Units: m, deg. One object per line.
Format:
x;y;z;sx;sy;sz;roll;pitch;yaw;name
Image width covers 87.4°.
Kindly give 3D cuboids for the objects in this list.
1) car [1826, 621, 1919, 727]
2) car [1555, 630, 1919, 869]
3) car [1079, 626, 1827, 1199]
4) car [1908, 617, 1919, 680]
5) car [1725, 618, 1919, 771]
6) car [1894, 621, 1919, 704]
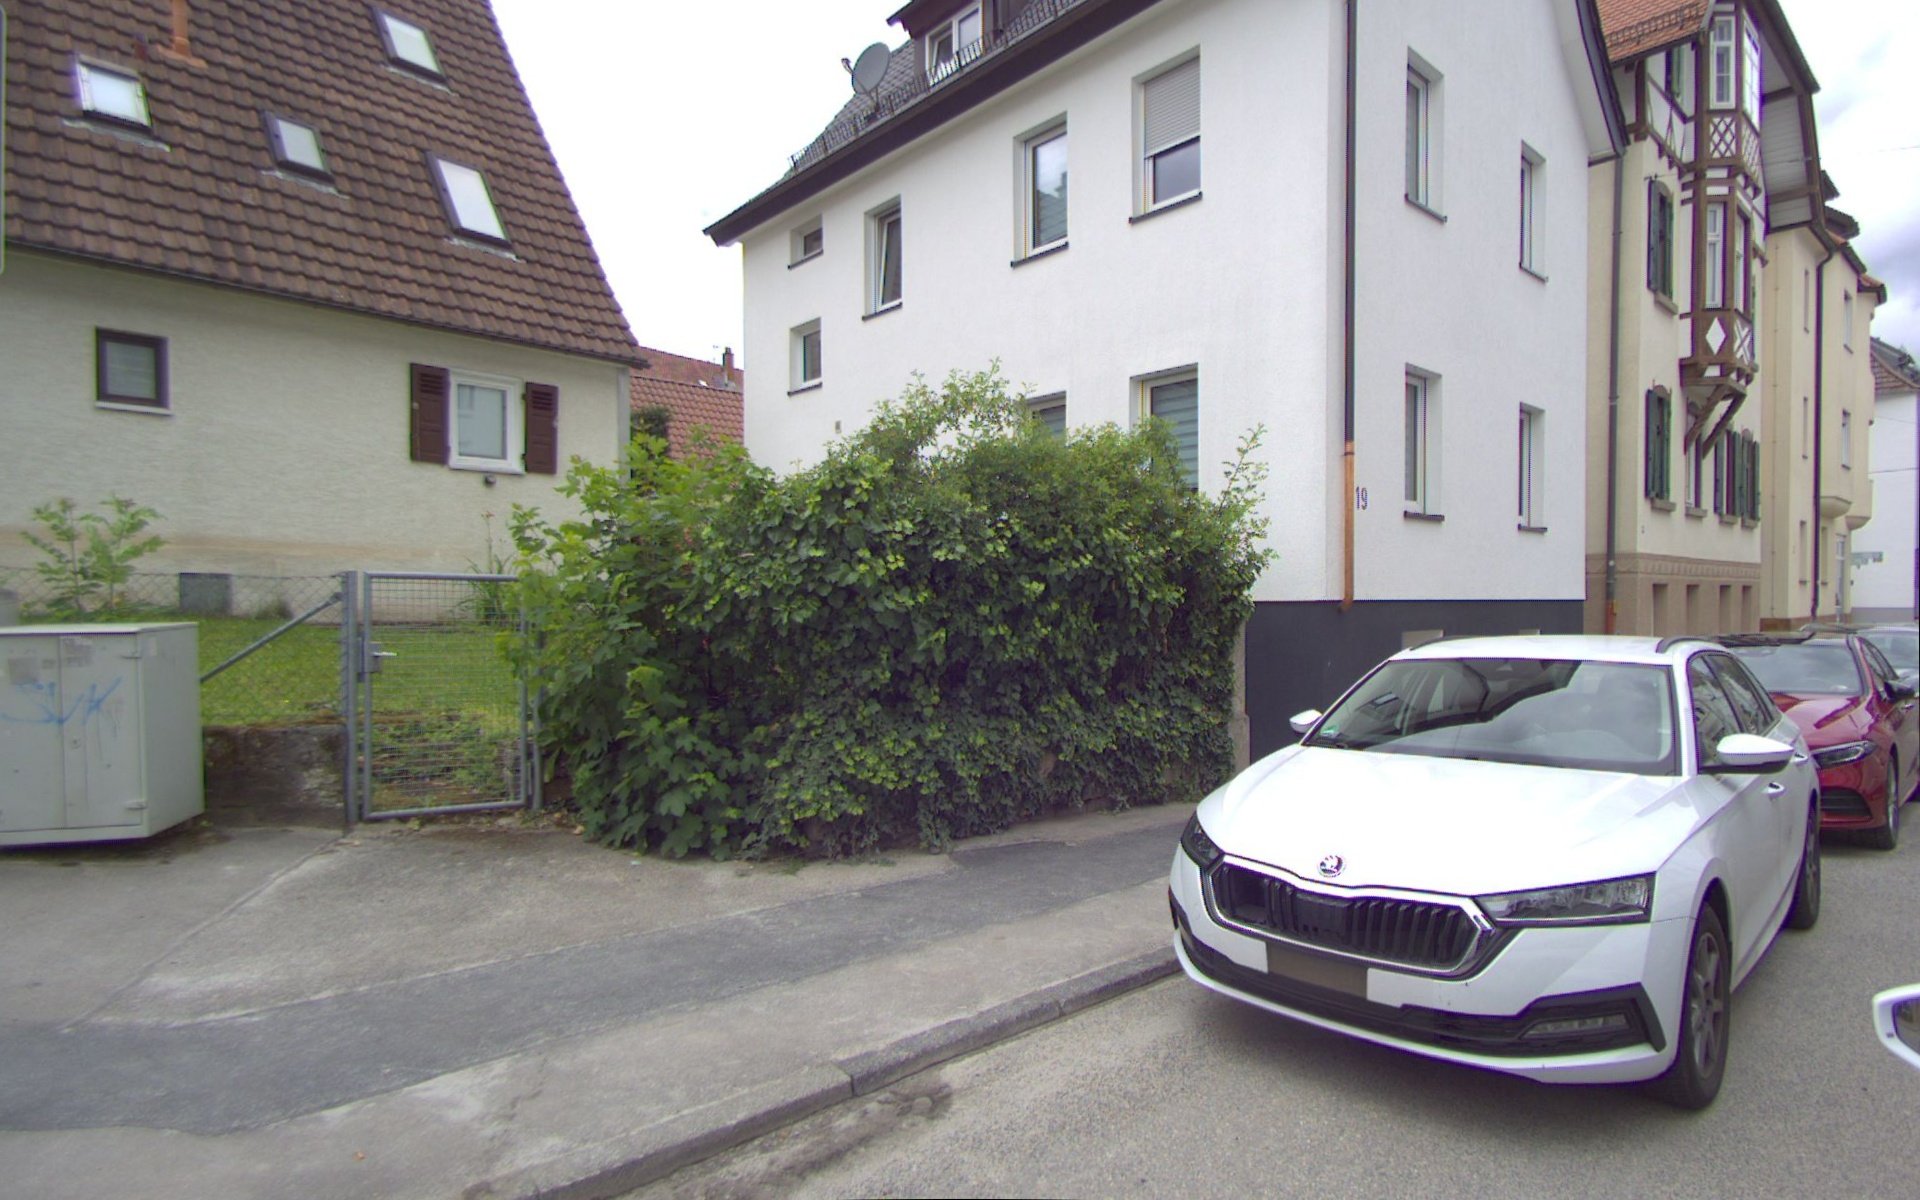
14.433;1.047;15.230;3.826;1.443;1.591;1;-1;-43;car
6.543;0.980;8.222;4.141;1.436;1.752;1;-2;-43;car
2.588;0.872;4.646;4.267;1.480;1.775;1;-2;-44;car
23.521;1.125;23.585;3.375;1.441;1.572;1;-1;-42;car
10.515;0.989;11.755;3.951;1.515;1.753;1;-3;-42;car
18.069;1.097;18.287;3.777;1.377;1.271;0;-1;-43;car
